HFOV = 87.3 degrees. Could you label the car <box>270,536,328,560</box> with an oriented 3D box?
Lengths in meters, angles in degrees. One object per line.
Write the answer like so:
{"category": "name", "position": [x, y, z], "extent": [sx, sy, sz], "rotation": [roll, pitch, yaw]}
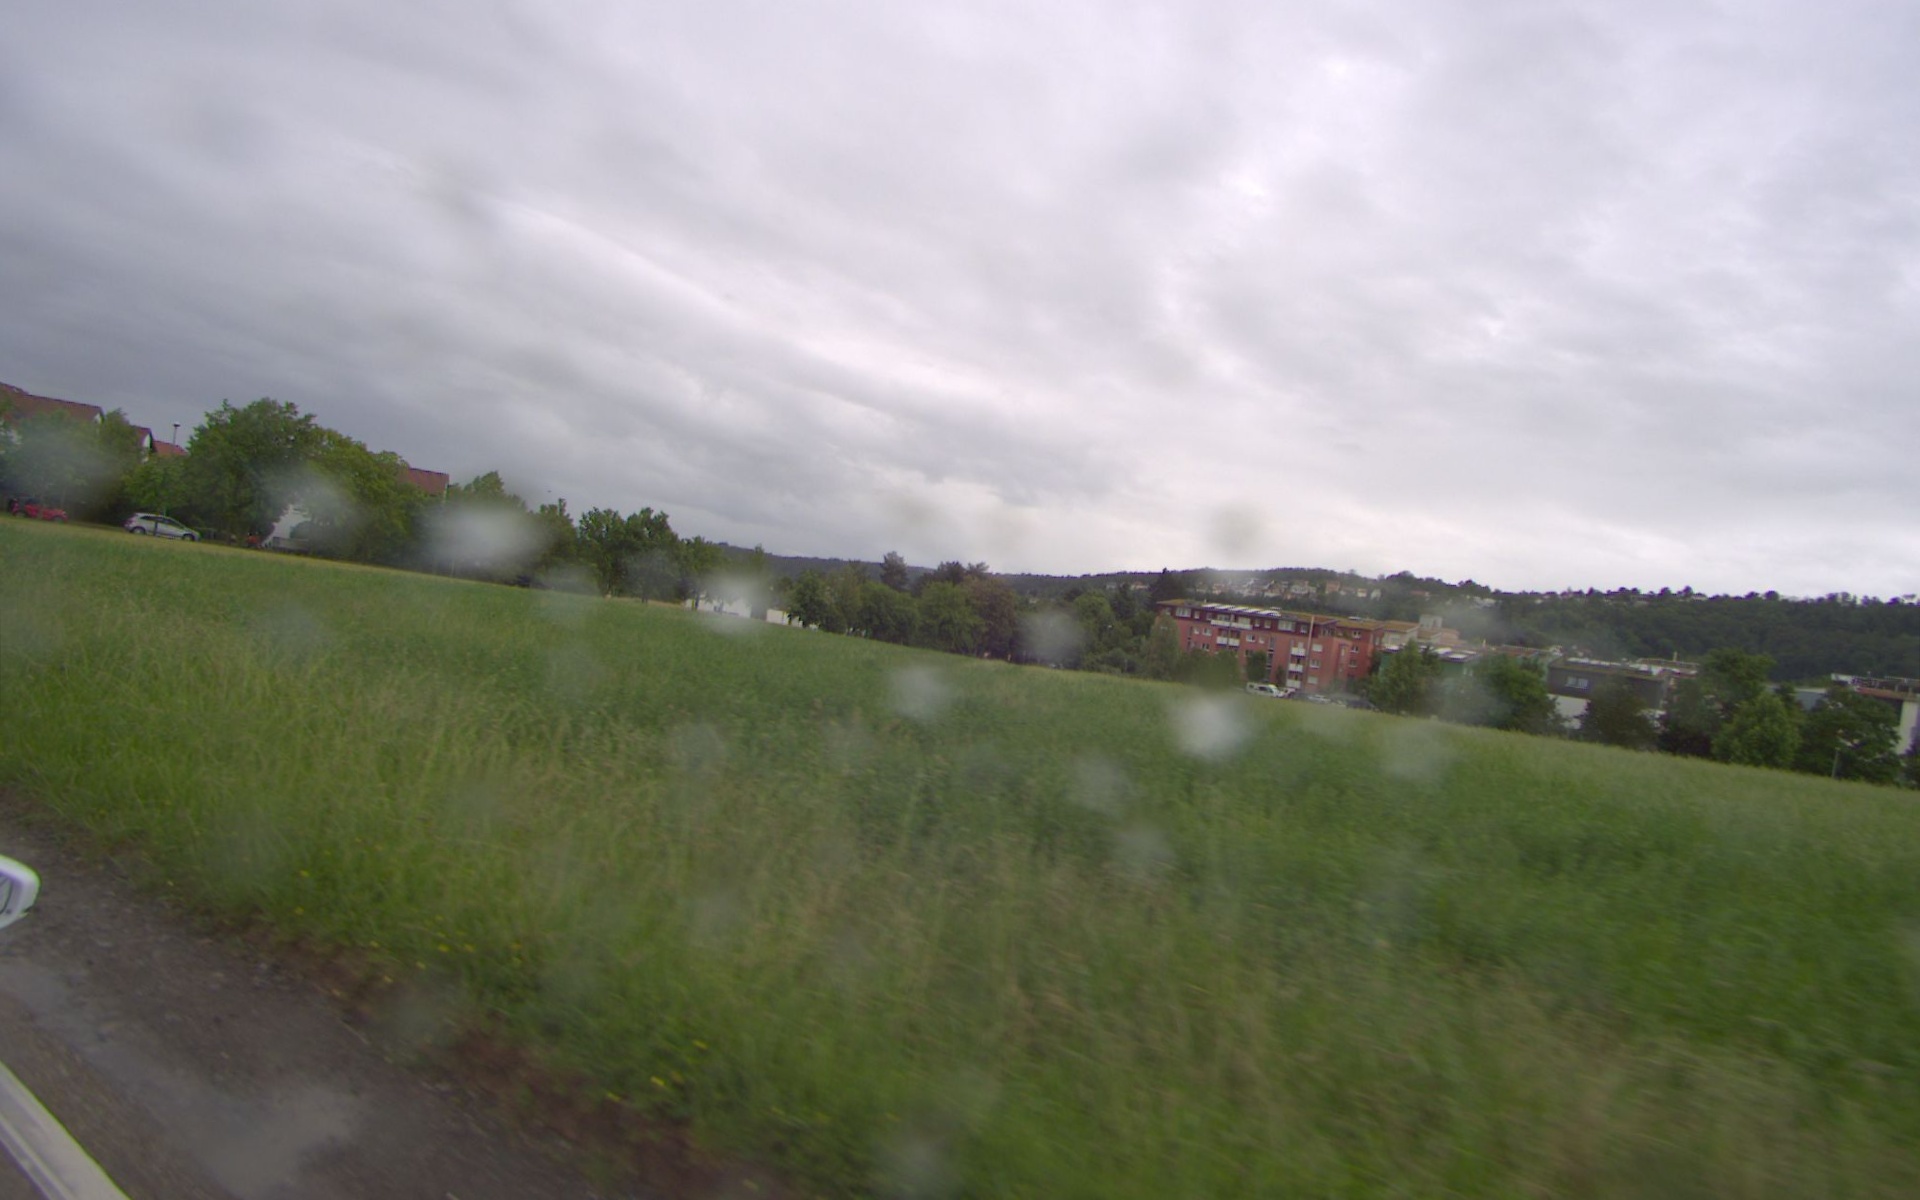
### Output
{"category": "car", "position": [-49.971, -3.897, 76.086], "extent": [1.711, 1.296, 3.312], "rotation": [6, -2, 43]}

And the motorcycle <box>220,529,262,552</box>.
{"category": "motorcycle", "position": [-52.327, -4.310, 73.214], "extent": [0.958, 1.317, 2.254], "rotation": [7, -2, 44]}

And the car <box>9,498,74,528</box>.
{"category": "car", "position": [-60.084, -5.658, 65.852], "extent": [2.991, 1.452, 1.536], "rotation": [9, -2, -41]}

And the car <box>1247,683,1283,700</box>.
{"category": "car", "position": [48.991, 14.643, 161.721], "extent": [1.987, 2.038, 5.217], "rotation": [7, -2, -43]}

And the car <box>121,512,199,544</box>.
{"category": "car", "position": [-55.803, -5.009, 70.234], "extent": [1.828, 1.569, 3.971], "rotation": [6, -3, 44]}
